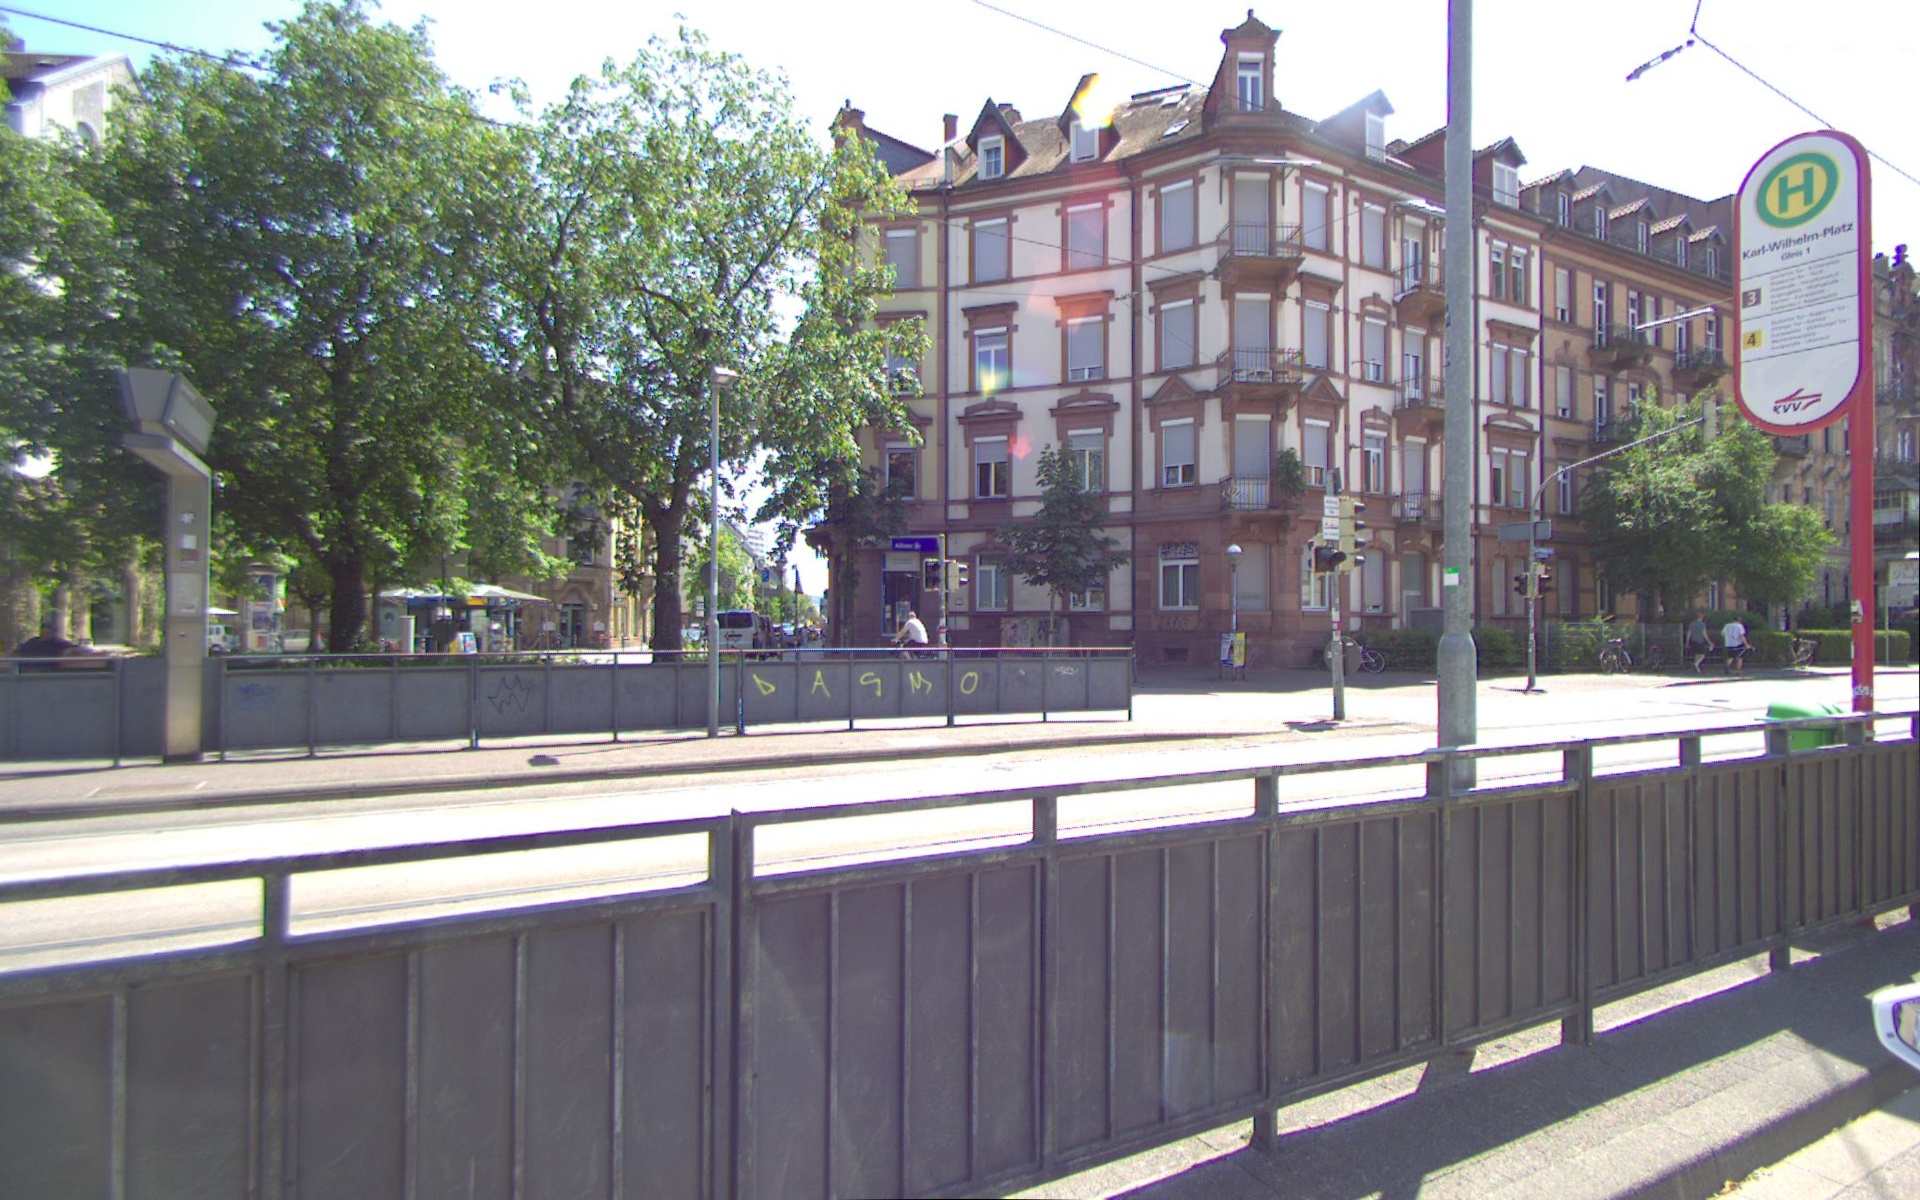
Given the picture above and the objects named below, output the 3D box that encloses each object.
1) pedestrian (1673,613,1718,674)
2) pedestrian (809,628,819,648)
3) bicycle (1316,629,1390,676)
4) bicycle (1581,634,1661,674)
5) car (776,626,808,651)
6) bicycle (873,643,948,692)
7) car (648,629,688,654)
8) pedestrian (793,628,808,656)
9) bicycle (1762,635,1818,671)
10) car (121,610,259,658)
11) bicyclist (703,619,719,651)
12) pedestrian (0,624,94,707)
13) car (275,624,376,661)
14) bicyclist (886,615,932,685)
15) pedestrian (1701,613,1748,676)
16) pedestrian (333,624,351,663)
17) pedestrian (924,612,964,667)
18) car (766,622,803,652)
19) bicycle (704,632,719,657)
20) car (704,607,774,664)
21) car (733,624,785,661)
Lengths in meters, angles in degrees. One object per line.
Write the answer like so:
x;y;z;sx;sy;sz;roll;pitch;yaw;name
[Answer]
22.922;1.338;31.324;0.862;1.847;0.813;0;1;-27;pedestrian
-11.817;3.046;81.389;0.742;1.632;0.688;0;-1;-4;pedestrian
11.668;1.555;29.868;1.923;1.312;0.564;2;0;11;bicycle
20.232;1.643;30.721;2.742;1.151;0.932;2;0;-31;bicycle
-12.480;2.841;74.763;1.962;1.617;3.998;2;0;-4;car
-1.190;1.596;24.019;1.737;1.070;0.698;0;-1;35;bicycle
-20.656;2.914;71.168;1.846;1.617;3.998;2;0;-4;car
-9.340;2.474;58.736;0.790;1.632;0.731;0;-1;-4;pedestrian
28.523;1.801;34.497;2.750;1.151;0.930;2;0;-39;bicycle
-31.186;1.362;40.820;3.932;1.814;1.994;2;0;-14;car
-12.488;1.741;50.351;0.710;1.582;0.896;1;-1;-12;bicyclist
-14.657;1.039;16.110;0.925;1.261;0.860;2;0;-24;pedestrian
-32.073;2.155;50.895;3.920;1.730;1.761;2;0;-14;car
-1.216;1.181;24.035;0.835;1.613;0.698;0;-1;34;bicyclist
23.335;1.342;30.659;0.862;1.847;0.813;0;1;-27;pedestrian
-27.014;1.912;43.919;0.506;1.692;0.491;0;-1;-8;pedestrian
-0.507;1.226;31.457;1.042;1.712;0.722;-1;-1;26;pedestrian
-10.370;2.174;59.459;1.684;1.617;3.998;2;0;-4;car
-12.410;2.207;50.158;0.637;1.188;1.922;1;-1;-13;bicycle
-8.325;1.295;38.222;1.962;1.970;3.998;2;0;-4;car
-9.622;2.007;48.294;1.893;1.541;3.998;2;0;-4;car
